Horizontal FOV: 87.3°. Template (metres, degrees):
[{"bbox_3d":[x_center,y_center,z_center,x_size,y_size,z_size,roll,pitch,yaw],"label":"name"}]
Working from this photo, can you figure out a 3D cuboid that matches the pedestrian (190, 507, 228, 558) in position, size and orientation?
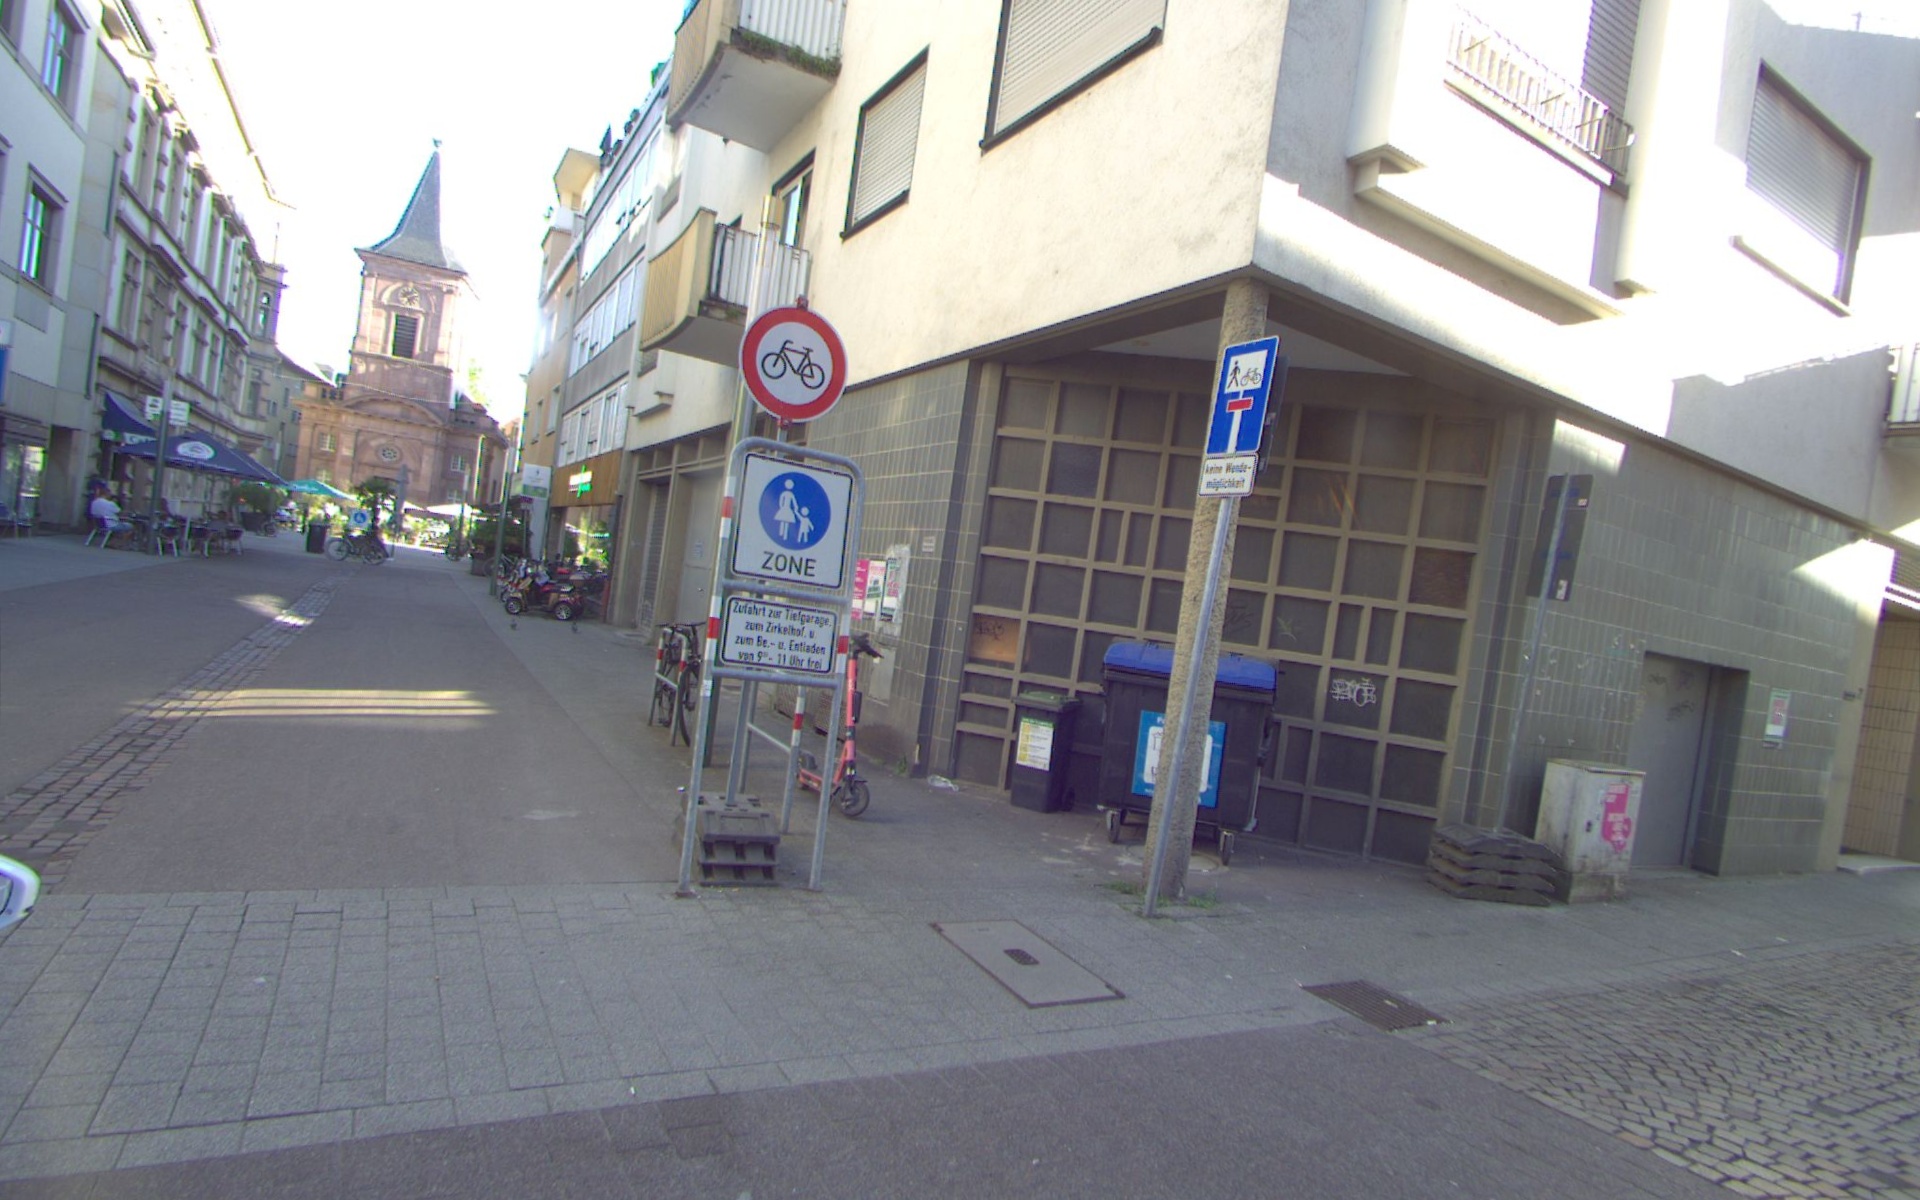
[{"bbox_3d":[-19.883,-1.790,26.628,0.688,1.230,0.577,7,1,-38],"label":"pedestrian"}]

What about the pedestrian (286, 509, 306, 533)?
[{"bbox_3d":[-37.203,-4.426,56.351,0.694,1.233,0.715,7,1,-24],"label":"pedestrian"}]

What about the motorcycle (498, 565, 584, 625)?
[{"bbox_3d":[-8.887,-0.106,21.392,1.543,1.055,0.371,7,1,-12],"label":"motorcycle"}]

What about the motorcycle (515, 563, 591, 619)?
[{"bbox_3d":[-9.328,-0.204,23.072,1.464,1.089,0.411,7,1,-12],"label":"motorcycle"}]

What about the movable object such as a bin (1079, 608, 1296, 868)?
[{"bbox_3d":[1.709,0.954,7.555,1.267,1.610,1.155,8,2,15],"label":"movable object such as a bin"}]

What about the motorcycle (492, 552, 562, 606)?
[{"bbox_3d":[-11.057,-0.533,25.714,1.465,1.196,0.411,7,1,-15],"label":"motorcycle"}]

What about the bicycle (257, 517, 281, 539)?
[{"bbox_3d":[-29.548,-3.065,43.038,0.452,0.860,2.132,7,0,-26],"label":"bicycle"}]

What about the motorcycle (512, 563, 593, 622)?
[{"bbox_3d":[-8.993,-0.165,22.243,1.497,1.089,0.411,7,1,-12],"label":"motorcycle"}]

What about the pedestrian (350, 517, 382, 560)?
[{"bbox_3d":[-22.476,-2.328,38.086,0.877,1.482,0.725,7,1,-29],"label":"pedestrian"}]

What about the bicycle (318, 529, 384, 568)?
[{"bbox_3d":[-20.552,-1.734,33.985,1.812,1.017,0.378,8,1,-33],"label":"bicycle"}]

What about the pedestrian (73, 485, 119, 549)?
[{"bbox_3d":[-20.393,-1.956,23.745,0.715,1.385,0.702,7,1,-42],"label":"pedestrian"}]

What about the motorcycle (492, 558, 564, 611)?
[{"bbox_3d":[-10.612,-0.381,24.716,1.464,1.089,0.411,7,1,-12],"label":"motorcycle"}]

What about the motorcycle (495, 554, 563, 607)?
[{"bbox_3d":[-11.316,-0.511,26.446,1.465,1.196,0.411,7,1,-15],"label":"motorcycle"}]

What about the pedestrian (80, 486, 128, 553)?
[{"bbox_3d":[-19.409,-1.821,22.798,0.705,1.385,0.711,7,1,-42],"label":"pedestrian"}]

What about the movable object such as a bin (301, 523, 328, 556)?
[{"bbox_3d":[-23.235,-2.169,36.232,0.716,1.088,0.371,7,1,-31],"label":"movable object such as a bin"}]

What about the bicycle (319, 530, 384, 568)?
[{"bbox_3d":[-20.757,-1.748,34.326,1.812,1.017,0.378,8,1,-33],"label":"bicycle"}]

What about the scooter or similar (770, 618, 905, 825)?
[{"bbox_3d":[-0.910,0.829,7.227,0.305,1.268,1.228,7,1,-33],"label":"scooter or similar"}]

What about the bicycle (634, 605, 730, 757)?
[{"bbox_3d":[-2.536,0.680,9.069,0.442,1.153,1.700,8,-1,-24],"label":"bicycle"}]

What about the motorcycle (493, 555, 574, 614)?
[{"bbox_3d":[-10.167,-0.368,24.022,1.603,1.190,0.479,7,1,-12],"label":"motorcycle"}]

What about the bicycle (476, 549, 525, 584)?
[{"bbox_3d":[-16.430,-1.191,36.009,1.449,1.017,0.570,8,1,-23],"label":"bicycle"}]

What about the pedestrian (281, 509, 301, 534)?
[{"bbox_3d":[-36.613,-4.282,55.061,0.694,1.233,0.715,7,1,-24],"label":"pedestrian"}]

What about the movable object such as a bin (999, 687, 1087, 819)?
[{"bbox_3d":[0.682,1.223,8.162,0.531,0.935,0.513,8,1,13],"label":"movable object such as a bin"}]

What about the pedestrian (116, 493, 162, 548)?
[{"bbox_3d":[-20.712,-2.015,25.392,0.761,1.248,0.822,7,1,-38],"label":"pedestrian"}]
